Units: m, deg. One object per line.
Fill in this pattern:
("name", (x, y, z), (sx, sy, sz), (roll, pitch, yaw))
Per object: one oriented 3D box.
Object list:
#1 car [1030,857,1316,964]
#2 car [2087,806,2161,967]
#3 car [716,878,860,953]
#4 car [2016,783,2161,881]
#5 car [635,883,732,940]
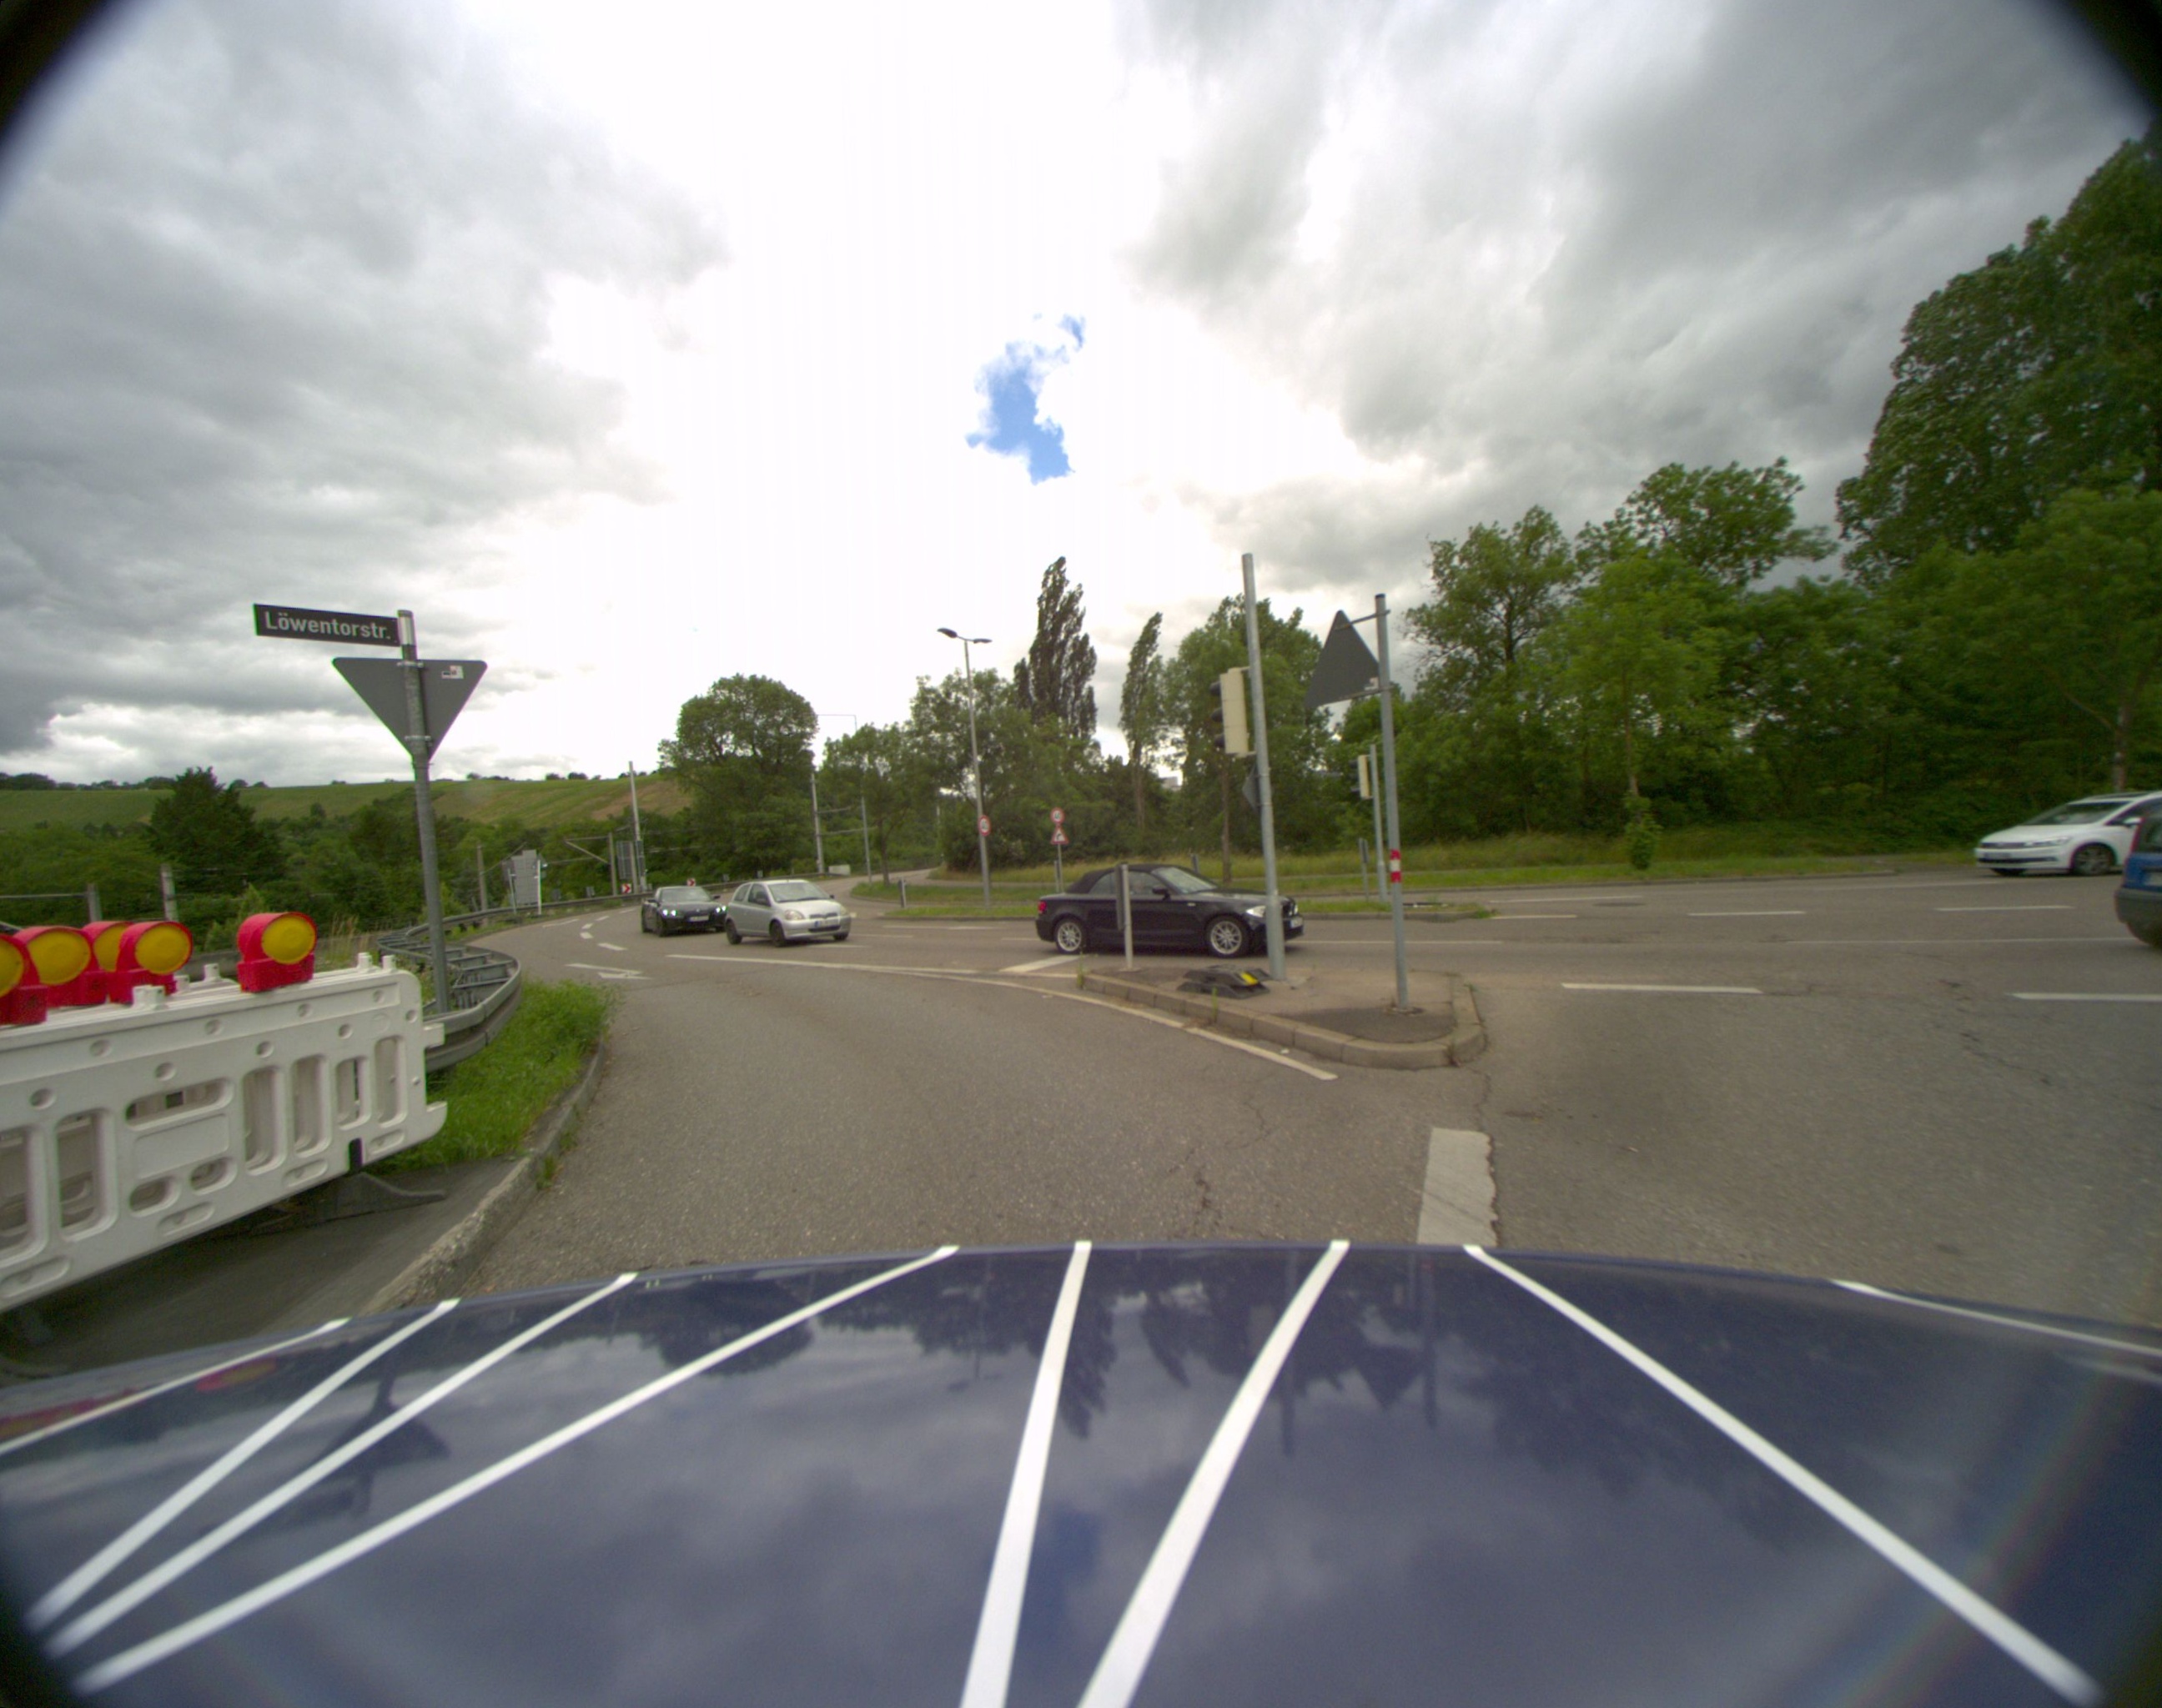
("car", (1.338, 0.855, 11.814), (4.073, 1.360, 1.571), (-4, 0, 35))
("car", (11.661, 0.227, 6.477), (3.373, 1.498, 1.550), (-3, 0, 22))
("car", (-6.939, 1.383, 17.827), (3.619, 1.461, 1.677), (-3, 1, 44))
("car", (23.237, -0.600, 15.827), (4.315, 1.750, 2.084), (-6, 2, 14))
("car", (-12.543, 1.710, 23.804), (1.882, 1.468, 4.951), (-3, 0, -37))
